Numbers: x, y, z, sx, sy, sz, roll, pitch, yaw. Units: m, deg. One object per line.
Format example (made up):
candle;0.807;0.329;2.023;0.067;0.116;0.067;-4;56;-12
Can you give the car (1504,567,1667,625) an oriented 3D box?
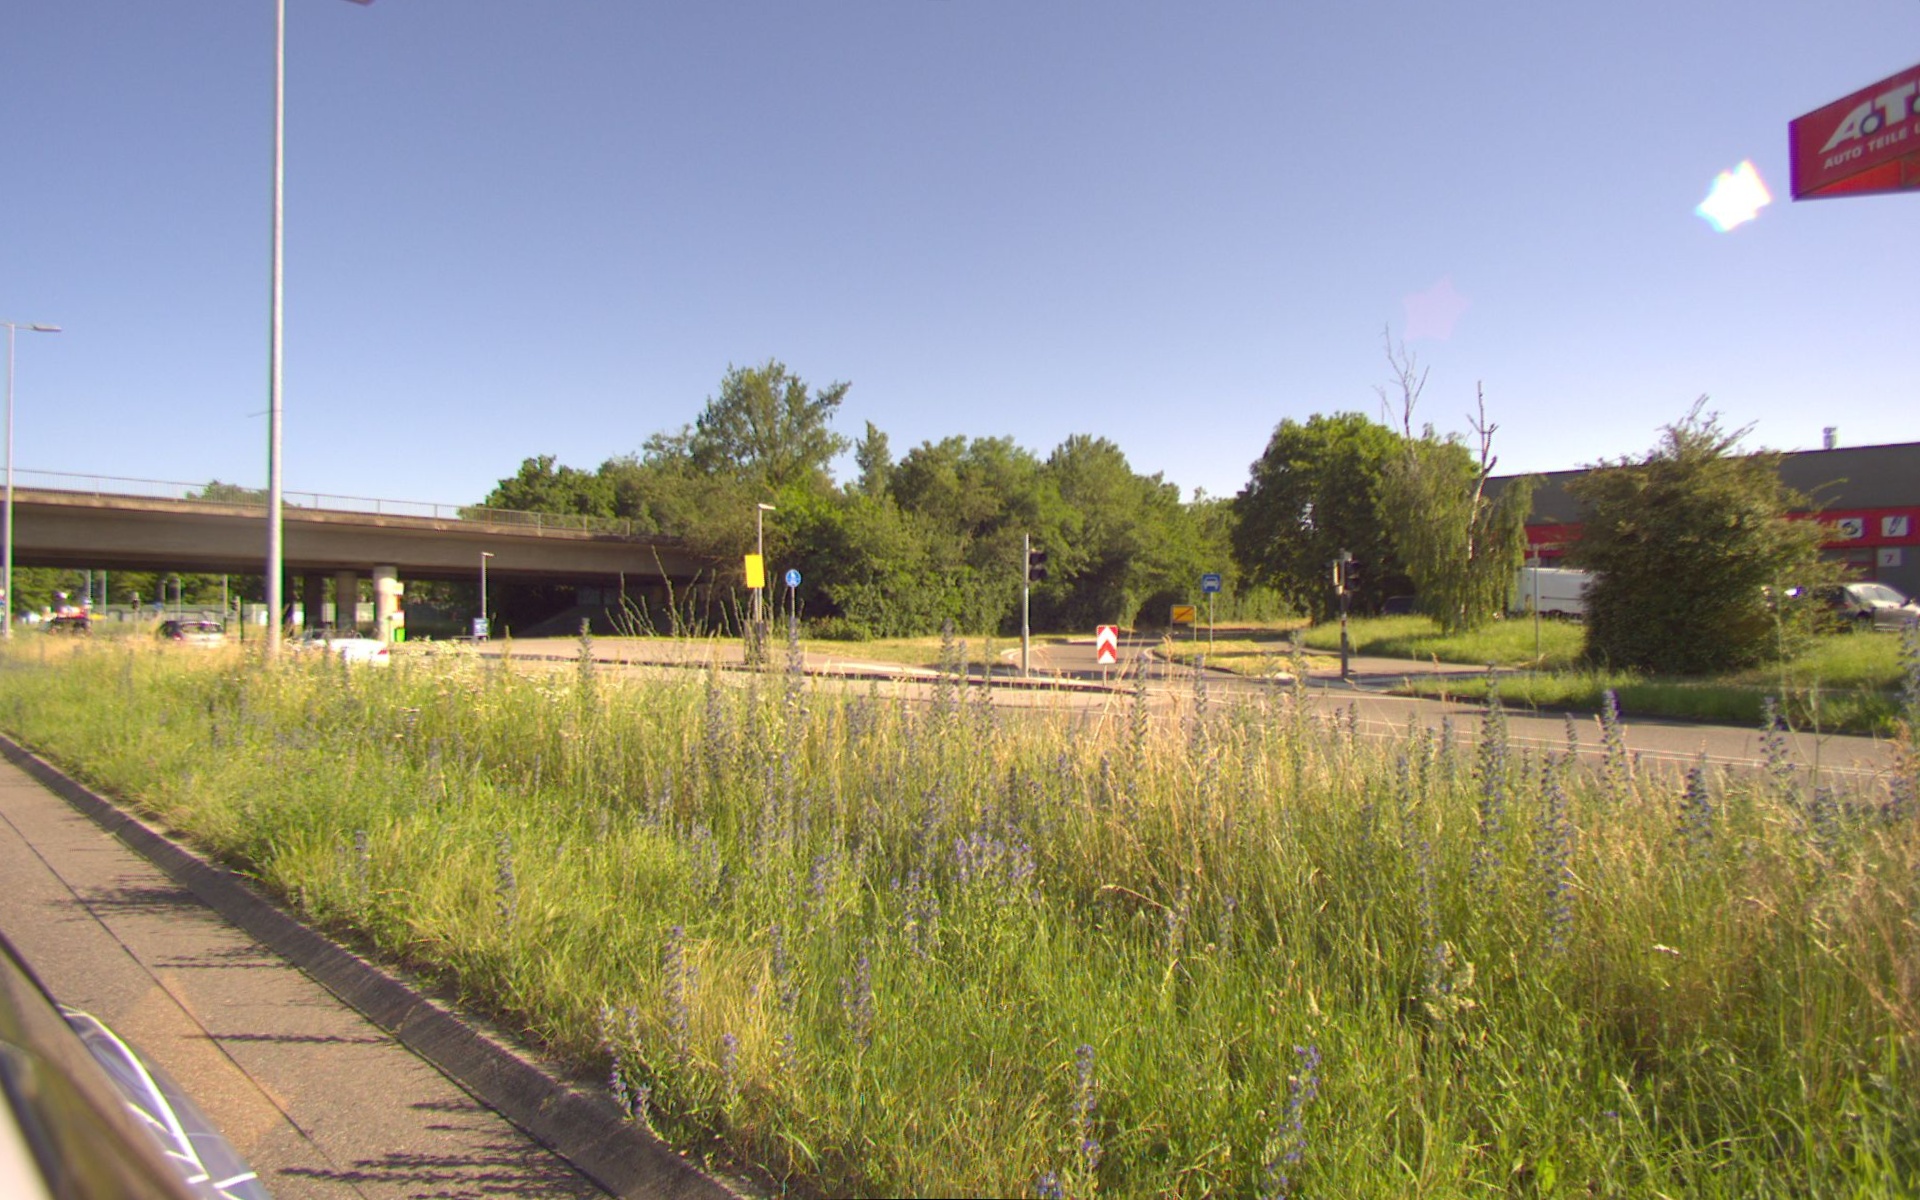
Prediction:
car;24.126;-0.112;39.217;4.990;2.168;1.890;0;-1;10

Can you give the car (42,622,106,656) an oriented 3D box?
car;-41.888;1.827;47.828;3.587;1.541;1.617;-1;-2;38

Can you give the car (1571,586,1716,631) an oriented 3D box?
car;23.316;0.313;34.552;4.061;1.466;1.901;0;-1;-16

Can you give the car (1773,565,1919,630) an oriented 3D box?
car;23.182;-0.014;26.091;4.060;1.563;1.902;0;-1;-26

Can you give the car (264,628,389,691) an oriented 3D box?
car;-16.272;1.463;25.931;4.102;1.455;1.615;-1;-2;42

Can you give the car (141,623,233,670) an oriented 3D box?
car;-26.915;1.588;35.227;3.586;1.541;1.618;-1;-2;36
